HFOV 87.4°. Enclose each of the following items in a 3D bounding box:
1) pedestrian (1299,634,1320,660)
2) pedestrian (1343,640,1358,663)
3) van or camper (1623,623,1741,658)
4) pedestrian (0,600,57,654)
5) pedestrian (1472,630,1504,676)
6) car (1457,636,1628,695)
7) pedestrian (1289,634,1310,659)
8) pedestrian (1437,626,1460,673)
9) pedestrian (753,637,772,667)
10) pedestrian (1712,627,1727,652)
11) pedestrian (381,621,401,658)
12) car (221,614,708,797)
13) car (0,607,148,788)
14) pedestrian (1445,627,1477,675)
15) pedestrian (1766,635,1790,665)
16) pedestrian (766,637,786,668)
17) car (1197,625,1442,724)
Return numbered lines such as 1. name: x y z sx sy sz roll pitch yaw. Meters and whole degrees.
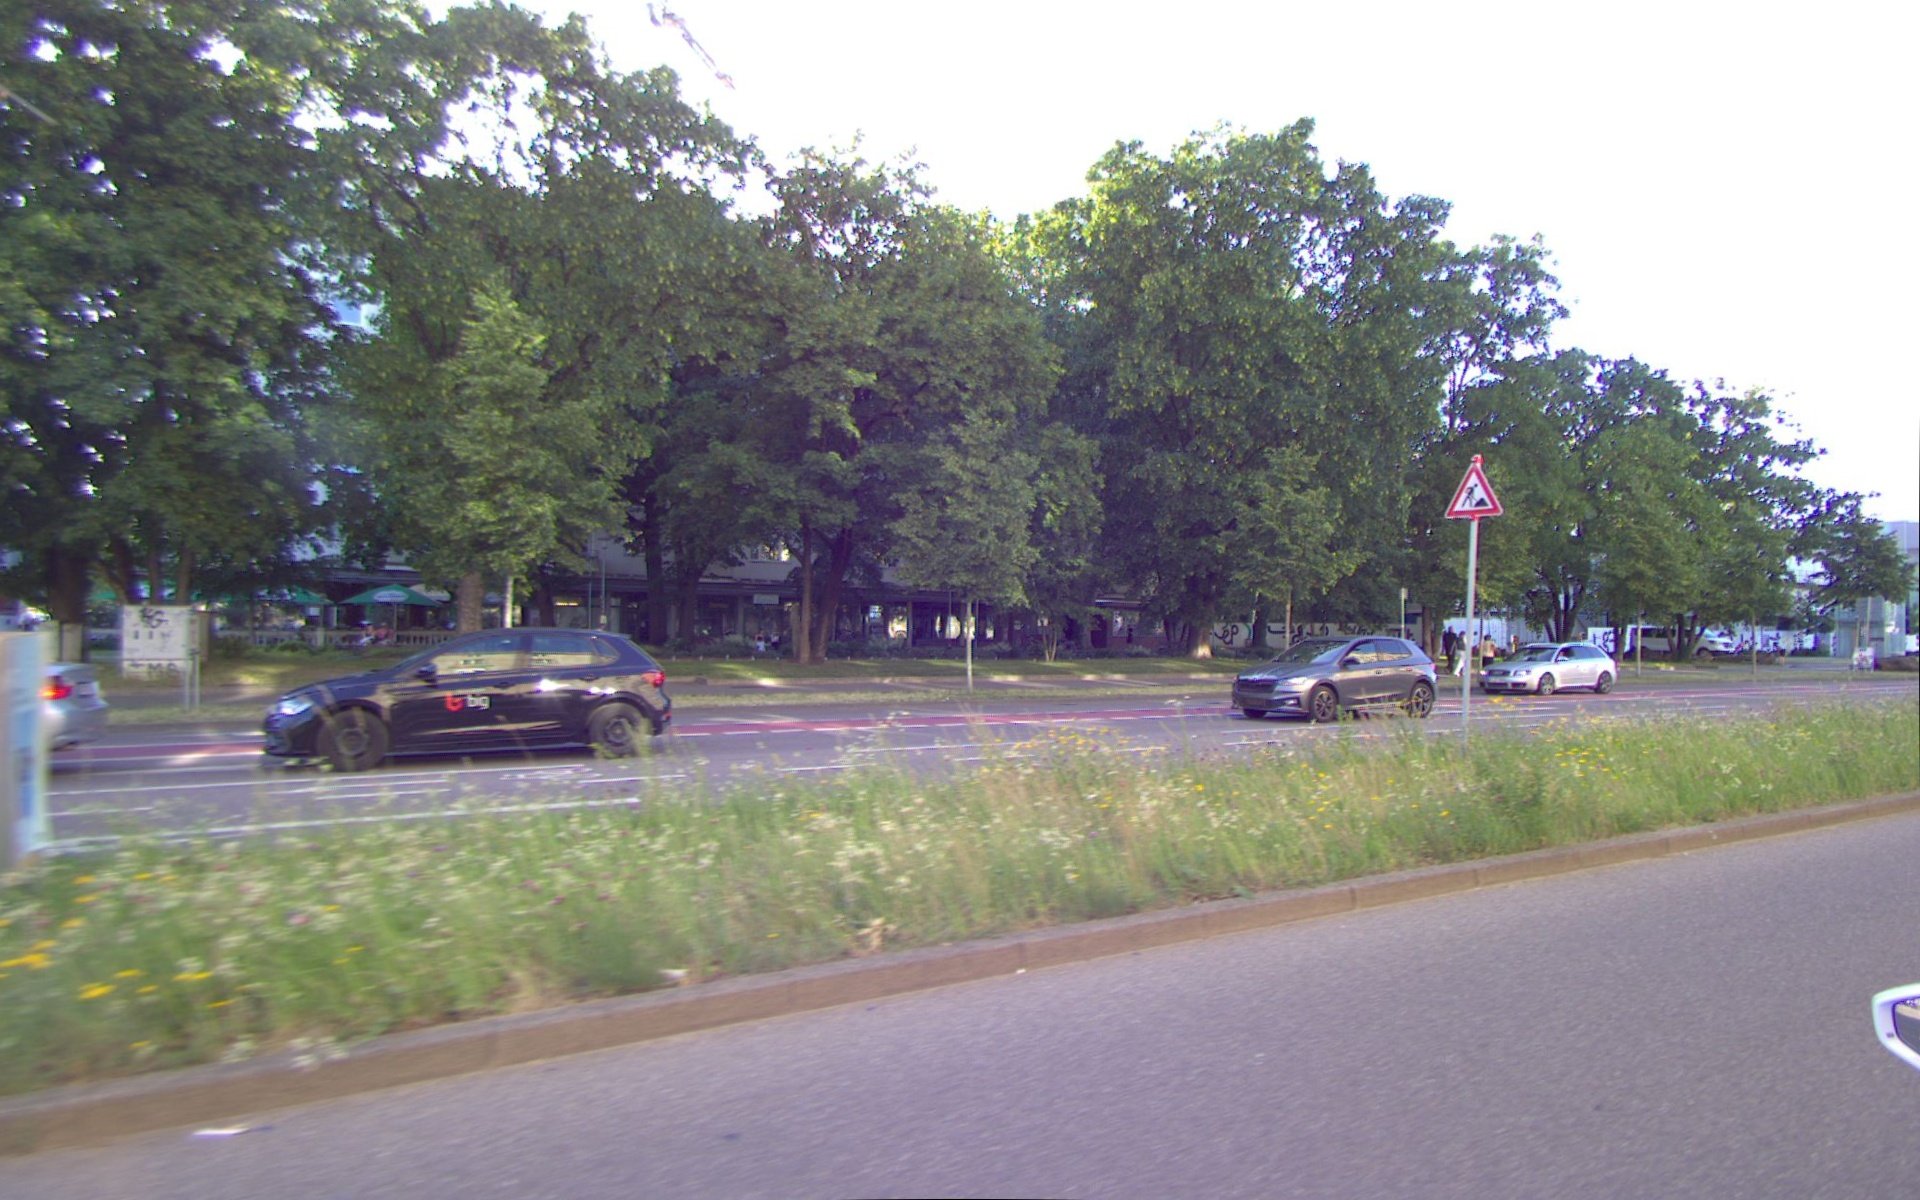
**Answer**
1. pedestrian: 21.769 2.924 62.602 0.886 1.560 0.896 2 -2 -35
2. pedestrian: 28.303 3.732 72.803 0.734 1.662 0.722 1 -1 -23
3. van or camper: 44.750 2.506 62.426 2.229 2.040 5.644 3 -3 -26
4. pedestrian: -30.987 0.903 33.326 1.194 1.763 0.892 1 -1 -13
5. pedestrian: 19.307 1.922 36.739 0.716 1.662 0.740 1 -1 -24
6. car: 16.529 1.838 28.494 4.522 1.546 1.929 2 -2 -23
7. pedestrian: 20.964 2.867 62.077 0.886 1.560 0.896 2 -2 -35
8. pedestrian: 18.621 1.891 38.287 0.646 1.763 0.522 1 -1 -25
9. pedestrian: -8.929 2.339 45.381 0.656 1.357 0.903 1 -1 -25
10. pedestrian: 52.343 2.747 69.228 0.826 1.711 0.576 1 -1 -30
11. pedestrian: -21.624 1.496 38.185 0.591 1.357 0.729 1 -1 -25
12. car: -5.324 1.056 11.284 4.493 1.697 1.986 2 -2 -28
13. car: -10.286 0.829 8.860 4.493 1.581 1.986 2 -2 -28
14. pedestrian: 18.746 1.894 37.606 0.750 1.763 0.769 1 -1 -24
15. pedestrian: 42.499 2.598 52.188 0.929 1.548 0.611 1 -1 -23
16. pedestrian: -8.370 2.379 45.753 0.706 1.357 0.824 1 -1 -25
17. car: 6.452 1.268 17.996 4.010 1.585 1.986 2 -2 -28
